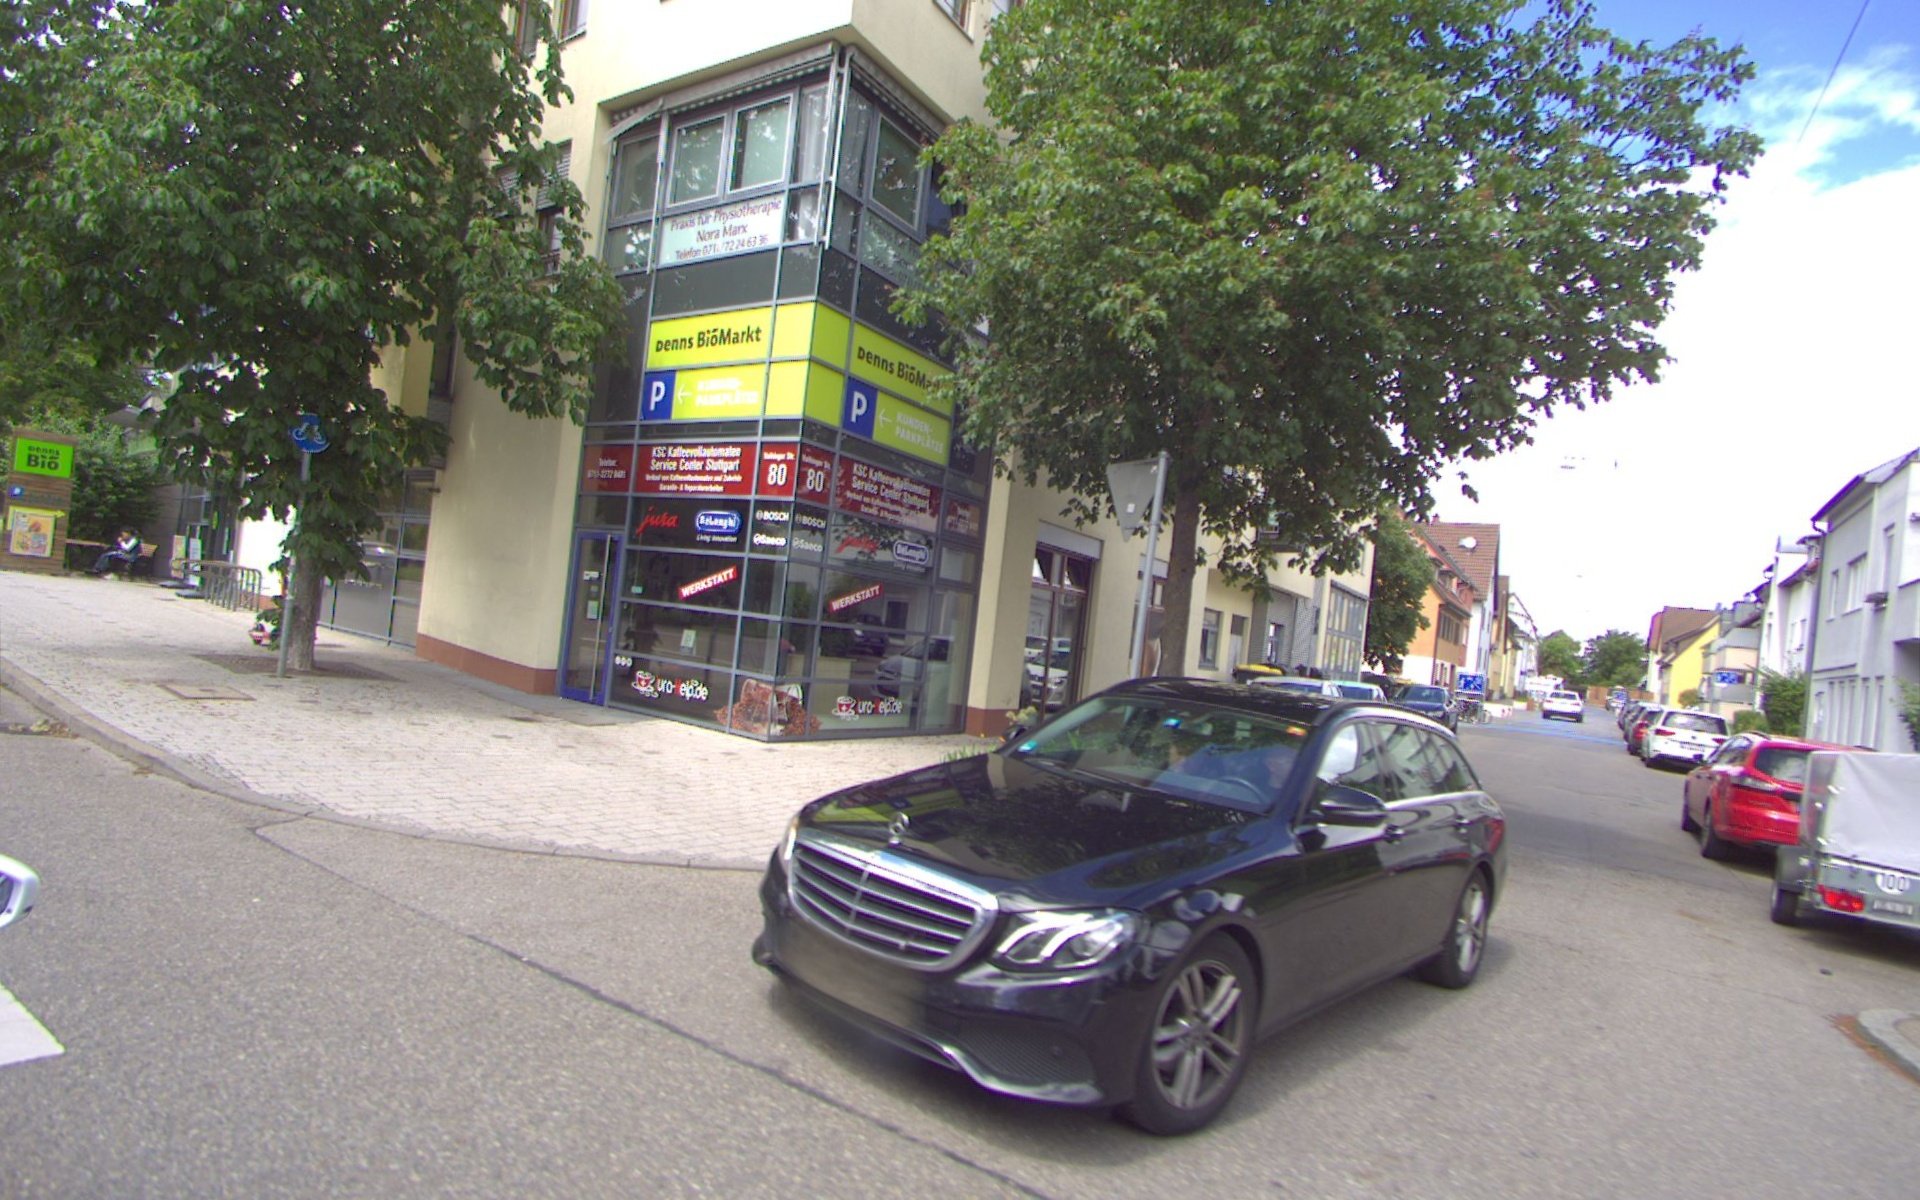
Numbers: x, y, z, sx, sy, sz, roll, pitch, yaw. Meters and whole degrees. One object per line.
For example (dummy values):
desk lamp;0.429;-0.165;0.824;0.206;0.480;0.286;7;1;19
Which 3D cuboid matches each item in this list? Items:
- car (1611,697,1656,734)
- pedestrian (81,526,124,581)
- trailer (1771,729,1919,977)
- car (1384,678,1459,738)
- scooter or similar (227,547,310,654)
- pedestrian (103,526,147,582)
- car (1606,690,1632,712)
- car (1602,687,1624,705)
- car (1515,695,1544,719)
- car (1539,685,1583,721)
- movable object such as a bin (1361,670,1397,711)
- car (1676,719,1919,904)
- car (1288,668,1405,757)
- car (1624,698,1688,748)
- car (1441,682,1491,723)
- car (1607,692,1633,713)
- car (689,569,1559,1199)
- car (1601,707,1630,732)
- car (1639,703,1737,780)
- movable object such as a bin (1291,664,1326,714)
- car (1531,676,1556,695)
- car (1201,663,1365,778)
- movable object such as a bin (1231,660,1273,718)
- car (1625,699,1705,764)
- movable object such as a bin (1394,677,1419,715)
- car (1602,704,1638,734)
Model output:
car;34.561;5.888;51.682;1.704;1.627;3.971;6;-1;33
pedestrian;-20.062;-1.086;23.537;0.493;1.195;0.522;6;-2;30
trailer;8.006;2.066;8.598;1.372;1.602;3.157;8;1;37
car;13.768;3.186;29.914;1.552;1.463;3.600;6;-1;31
scooter or similar;-9.555;-0.007;13.880;1.437;1.331;0.381;6;-2;38
pedestrian;-19.297;-1.062;23.252;0.496;1.217;0.576;6;-2;41
car;62.118;9.522;94.858;1.821;1.775;3.668;6;-3;31
car;75.577;11.109;116.412;1.821;1.775;3.668;6;-3;31
car;39.736;7.448;70.138;1.552;1.463;3.600;6;-1;31
car;32.465;5.596;54.343;1.821;1.611;3.668;6;-3;31
movable object such as a bin;16.361;3.526;39.285;1.040;1.436;0.597;6;-2;34
car;9.864;2.335;12.057;1.704;1.463;4.247;6;-1;32
car;7.977;2.308;20.574;1.552;1.462;3.602;6;-3;31
car;27.172;4.756;39.369;1.704;1.627;3.972;6;-1;32
car;21.459;4.322;42.601;1.552;1.463;3.600;6;-1;31
car;65.710;10.249;100.164;1.821;1.775;3.668;6;-3;31
car;1.272;1.054;4.985;1.787;1.646;4.665;6;-3;44
car;50.605;9.199;77.668;1.704;1.627;3.971;6;-1;33
car;19.274;3.680;26.770;1.704;1.627;3.972;6;-1;32
movable object such as a bin;10.799;2.770;31.151;0.758;1.436;0.597;6;-2;34
car;51.531;7.546;88.875;1.694;1.463;3.599;6;-1;32
car;5.401;1.961;16.555;1.703;1.462;3.602;6;-3;31
movable object such as a bin;7.744;2.353;26.677;0.758;1.436;0.597;6;-2;34
car;21.935;4.041;31.416;1.704;1.627;3.972;6;-1;32
movable object such as a bin;18.052;3.873;40.668;0.671;1.436;0.597;6;-2;34
car;42.018;7.552;64.096;1.704;1.627;3.972;6;-1;32
